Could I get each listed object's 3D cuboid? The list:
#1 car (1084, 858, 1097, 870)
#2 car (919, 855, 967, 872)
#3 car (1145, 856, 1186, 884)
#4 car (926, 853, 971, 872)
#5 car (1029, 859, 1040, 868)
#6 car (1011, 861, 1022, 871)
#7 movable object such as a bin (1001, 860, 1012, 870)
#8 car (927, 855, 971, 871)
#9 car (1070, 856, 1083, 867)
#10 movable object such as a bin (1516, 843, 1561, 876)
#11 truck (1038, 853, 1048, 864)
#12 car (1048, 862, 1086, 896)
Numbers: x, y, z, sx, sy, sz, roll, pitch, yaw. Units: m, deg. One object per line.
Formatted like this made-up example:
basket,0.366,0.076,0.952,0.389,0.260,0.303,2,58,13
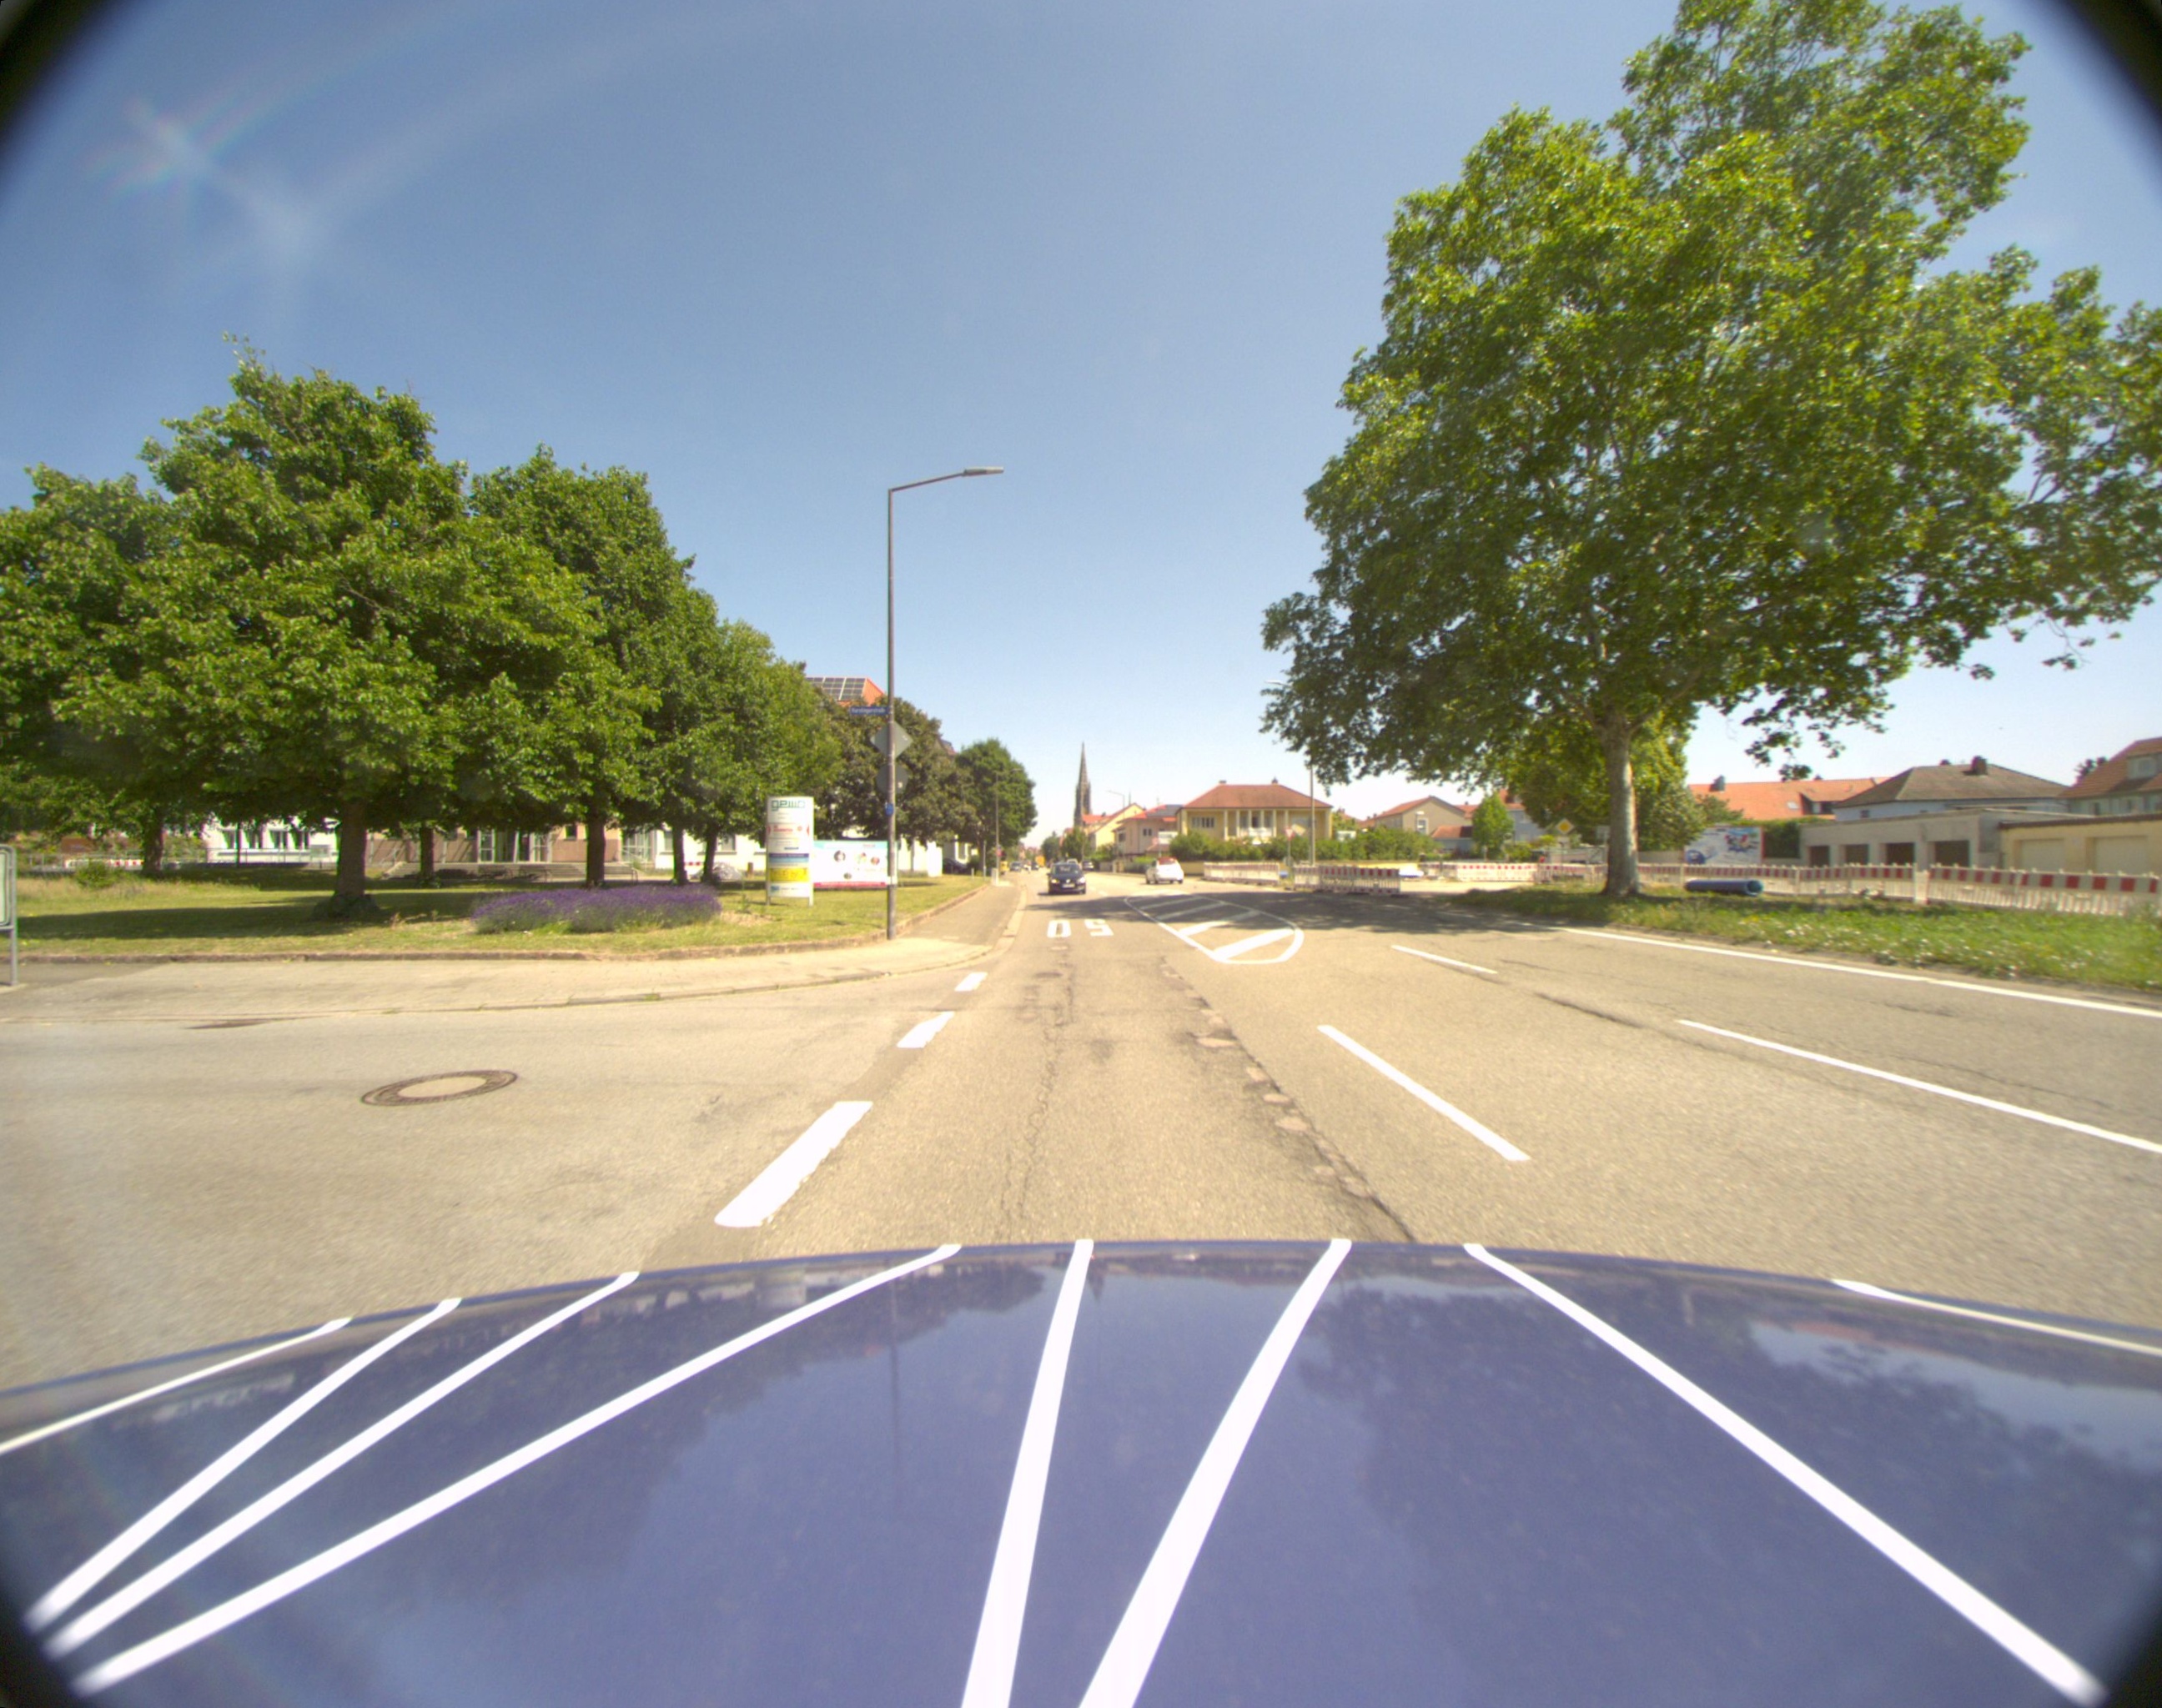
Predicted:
car,1.266,1.269,100.914,1.390,1.568,3.319,0,0,-6
car,-13.295,0.911,73.357,4.369,1.427,1.999,2,0,-7
car,4.864,0.897,44.005,1.704,1.501,3.457,-2,0,-4
car,-13.254,0.857,76.215,4.369,1.776,1.999,2,0,-7
car,-7.966,1.606,129.681,1.712,1.449,3.561,0,0,-8
car,-9.950,1.842,117.198,1.608,1.403,3.907,-1,0,-5
movable object such as a bin,-10.647,1.569,108.750,1.500,1.472,1.422,0,0,-6
car,-13.764,0.890,79.236,4.369,1.517,1.999,2,0,-7
car,-0.759,1.193,121.141,1.719,1.776,3.888,0,0,-6
movable object such as a bin,38.926,0.494,64.758,2.273,2.719,3.936,0,0,16
truck,-10.001,1.228,199.125,2.223,2.920,5.348,0,0,-6
car,-0.685,1.108,35.316,1.607,1.436,3.908,-1,0,-3
